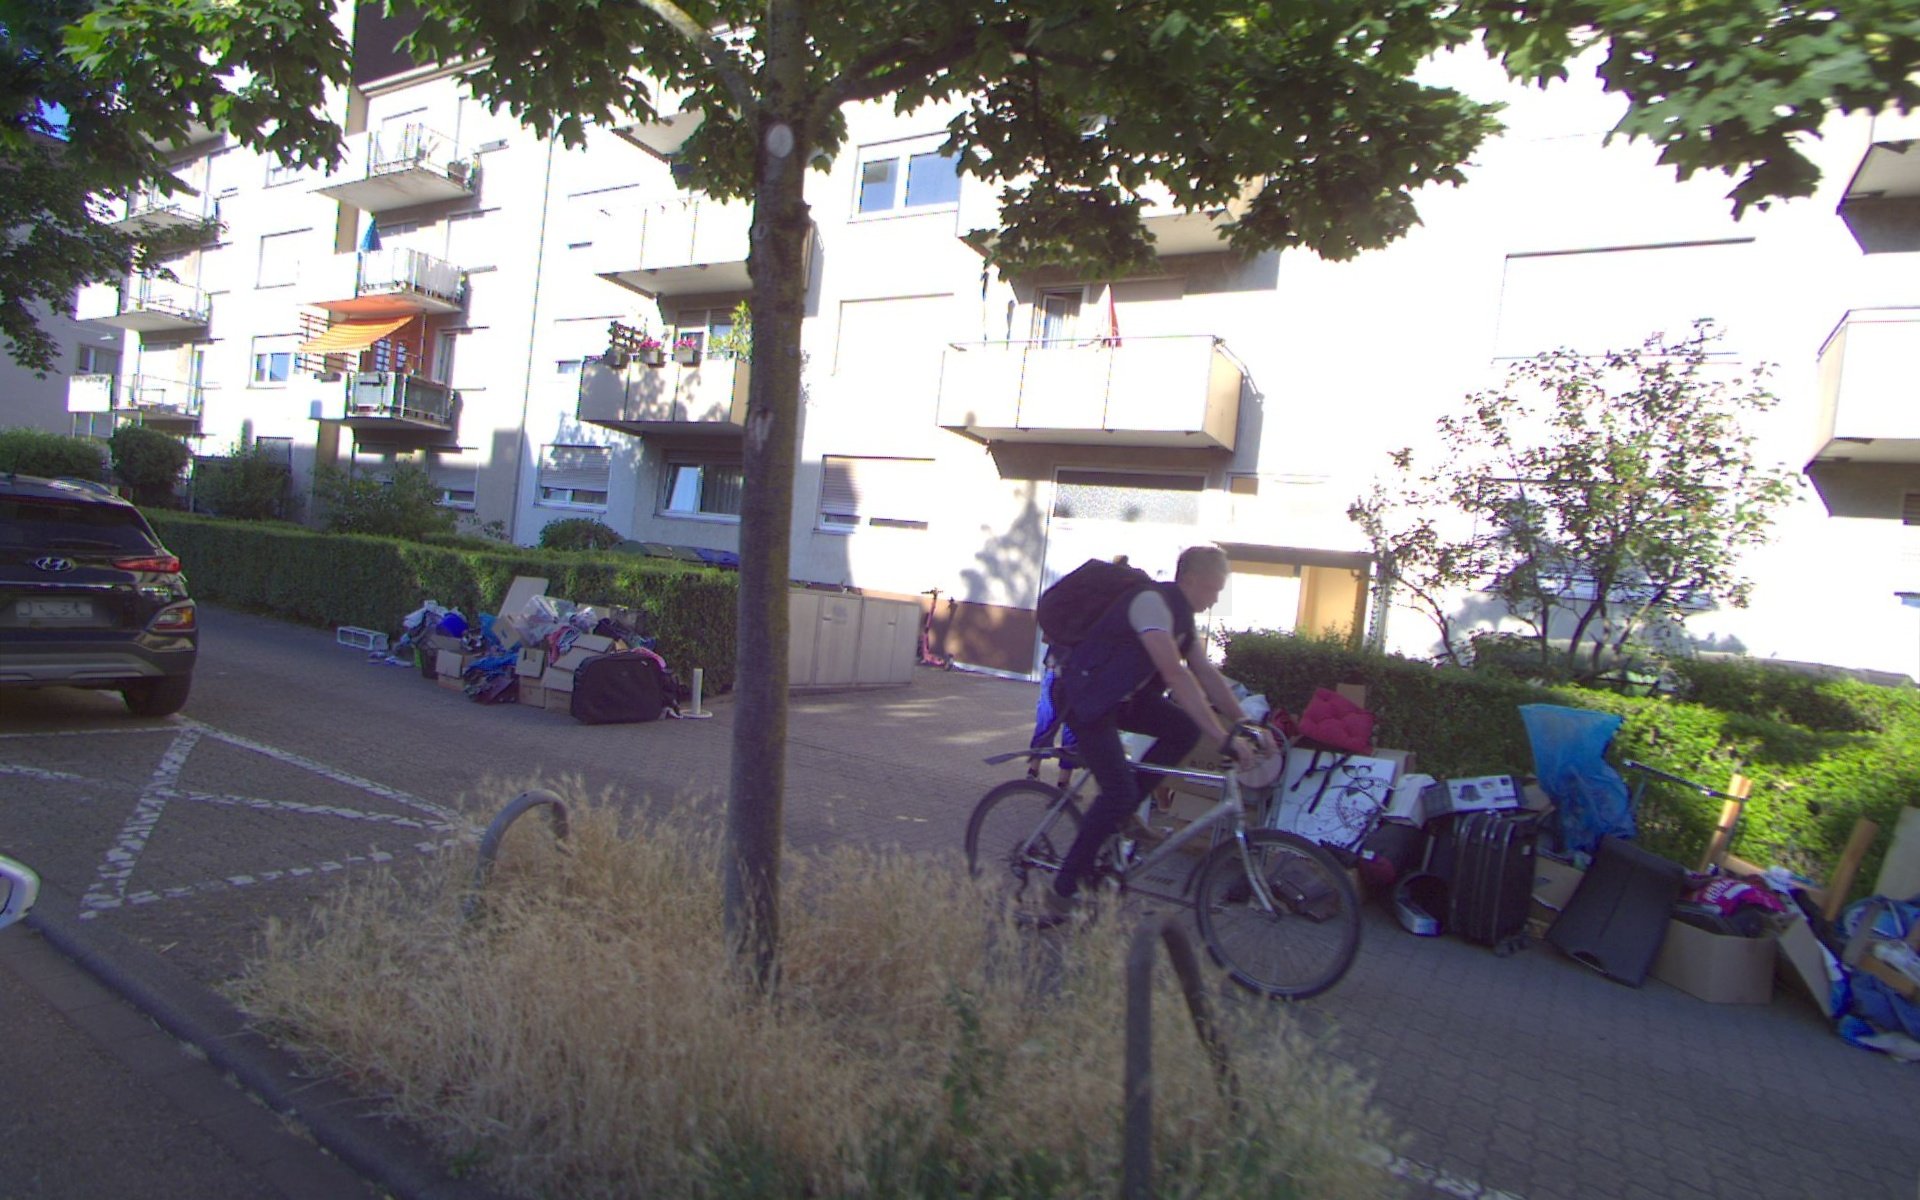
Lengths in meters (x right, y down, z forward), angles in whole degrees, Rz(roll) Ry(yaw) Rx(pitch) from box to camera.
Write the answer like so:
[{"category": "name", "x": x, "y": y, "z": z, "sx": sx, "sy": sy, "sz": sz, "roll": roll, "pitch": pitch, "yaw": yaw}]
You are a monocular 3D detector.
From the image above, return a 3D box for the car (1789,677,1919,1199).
[{"category": "car", "x": 3.495, "y": 1.124, "z": 0.687, "sx": 4.197, "sy": 1.501, "sz": 1.708, "roll": 7, "pitch": 3, "yaw": 31}]

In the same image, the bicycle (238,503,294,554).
[{"category": "bicycle", "x": -18.634, "y": -1.934, "z": 27.010, "sx": 1.767, "sy": 1.198, "sz": 0.523, "roll": 7, "pitch": 1, "yaw": 33}]

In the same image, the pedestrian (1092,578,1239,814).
[{"category": "pedestrian", "x": 1.442, "y": 0.660, "z": 7.150, "sx": 0.585, "sy": 1.560, "sz": 0.692, "roll": 6, "pitch": 2, "yaw": -22}]

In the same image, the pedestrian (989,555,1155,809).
[{"category": "pedestrian", "x": 0.793, "y": 0.563, "z": 7.182, "sx": 0.691, "sy": 1.661, "sz": 0.748, "roll": 5, "pitch": 2, "yaw": -45}]

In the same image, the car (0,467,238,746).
[{"category": "car", "x": -7.035, "y": -0.145, "z": 6.976, "sx": 3.946, "sy": 1.603, "sz": 1.856, "roll": 7, "pitch": 2, "yaw": 31}]

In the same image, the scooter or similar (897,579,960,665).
[{"category": "scooter or similar", "x": -0.505, "y": 0.358, "z": 16.130, "sx": 0.657, "sy": 1.289, "sz": 0.615, "roll": 7, "pitch": 2, "yaw": 31}]

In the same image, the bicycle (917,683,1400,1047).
[{"category": "bicycle", "x": 0.757, "y": 0.973, "z": 4.164, "sx": 1.801, "sy": 1.000, "sz": 0.516, "roll": 7, "pitch": 1, "yaw": 32}]

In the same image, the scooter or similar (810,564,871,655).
[{"category": "scooter or similar", "x": -2.014, "y": 0.169, "z": 16.997, "sx": 0.657, "sy": 1.460, "sz": 0.615, "roll": 7, "pitch": 2, "yaw": 31}]

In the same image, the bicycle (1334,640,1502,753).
[{"category": "bicycle", "x": 5.387, "y": 1.154, "z": 11.779, "sx": 2.180, "sy": 1.155, "sz": 0.514, "roll": 6, "pitch": 1, "yaw": -30}]

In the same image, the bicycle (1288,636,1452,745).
[{"category": "bicycle", "x": 5.013, "y": 1.117, "z": 12.234, "sx": 2.180, "sy": 1.155, "sz": 0.514, "roll": 6, "pitch": 1, "yaw": -30}]

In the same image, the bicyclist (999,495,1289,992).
[{"category": "bicyclist", "x": 0.765, "y": 0.529, "z": 4.177, "sx": 0.838, "sy": 1.811, "sz": 0.581, "roll": 7, "pitch": 2, "yaw": 32}]

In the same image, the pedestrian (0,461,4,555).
[{"category": "pedestrian", "x": -14.776, "y": -1.231, "z": 14.959, "sx": 0.761, "sy": 1.772, "sz": 0.661, "roll": 7, "pitch": 3, "yaw": 38}]

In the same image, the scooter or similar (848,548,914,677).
[{"category": "scooter or similar", "x": -1.303, "y": 0.215, "z": 16.572, "sx": 0.657, "sy": 2.040, "sz": 0.615, "roll": 7, "pitch": 2, "yaw": 31}]
